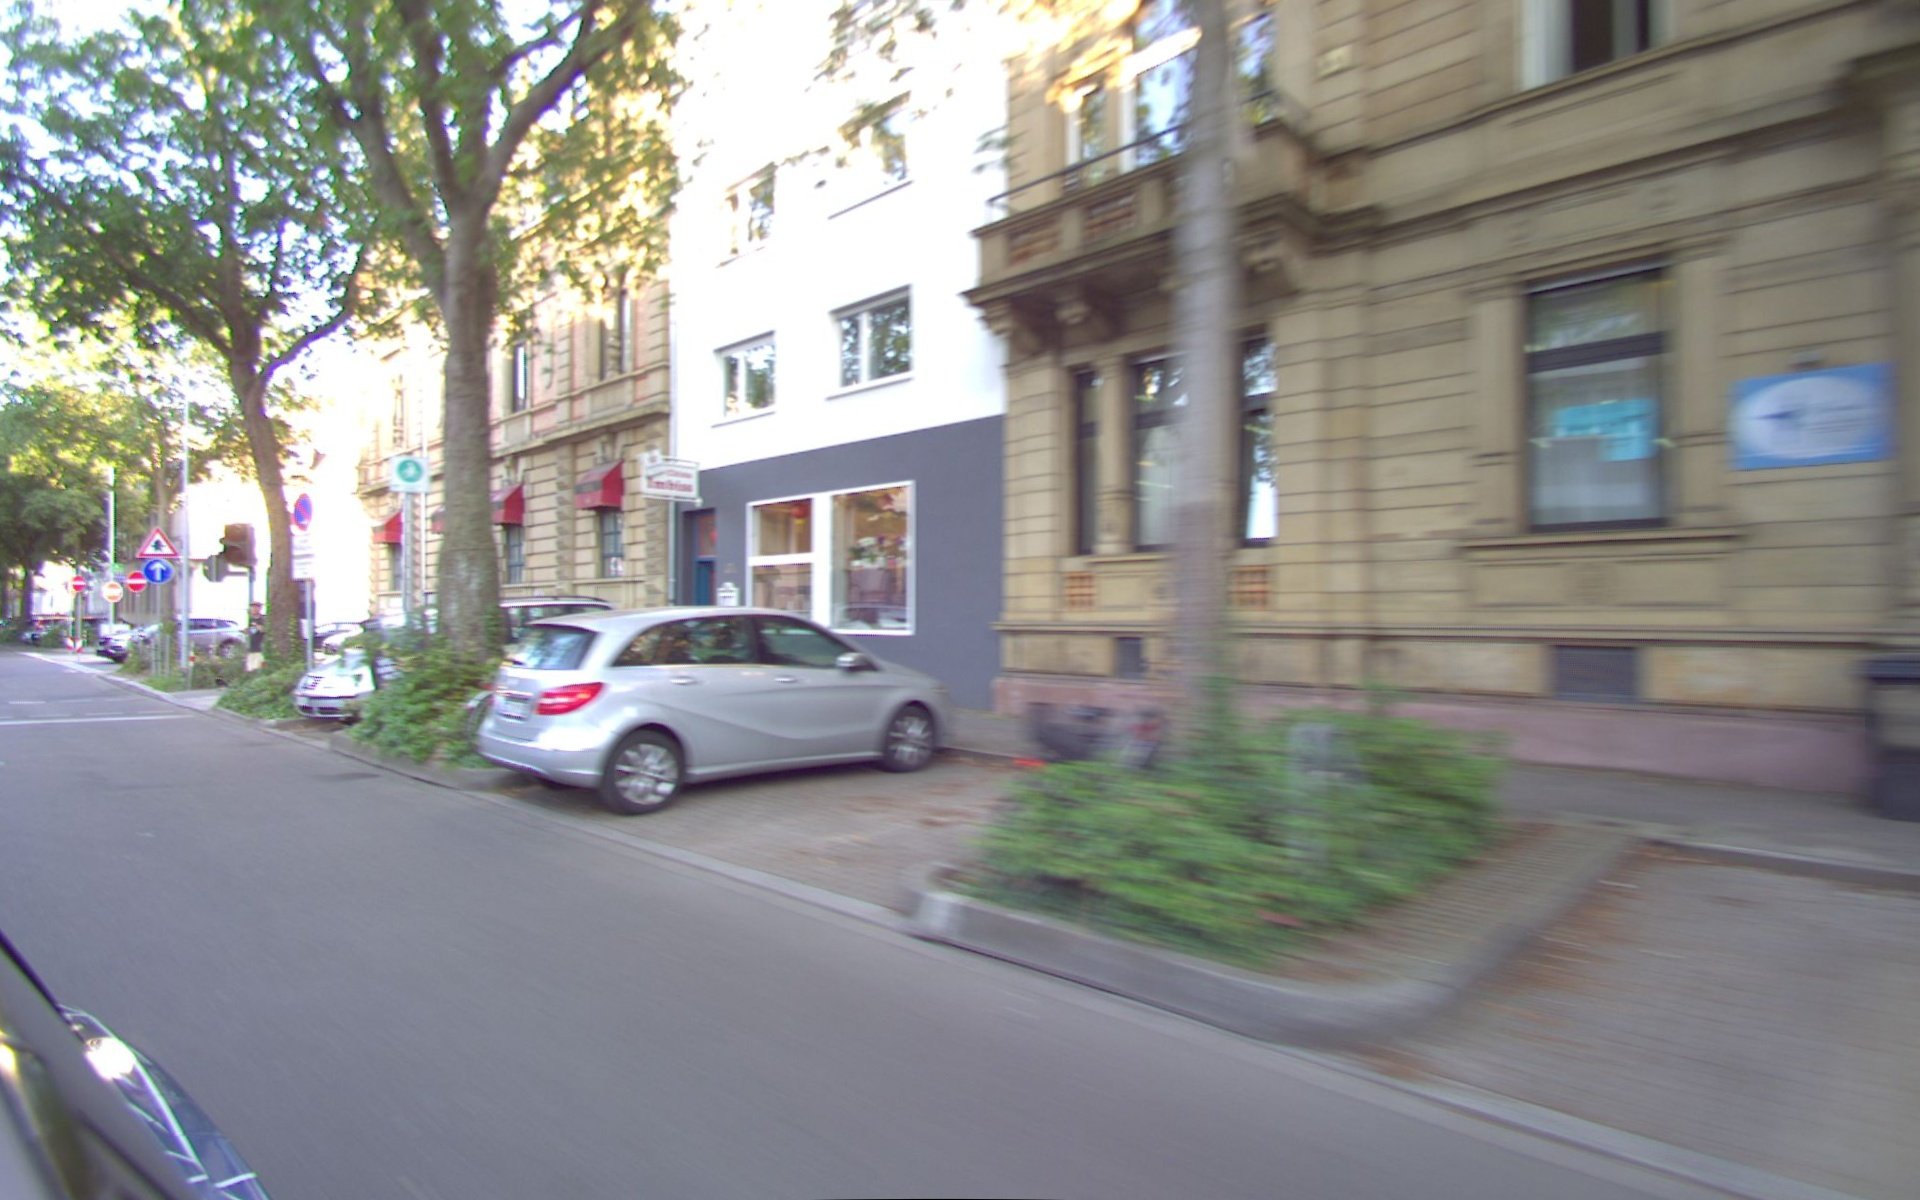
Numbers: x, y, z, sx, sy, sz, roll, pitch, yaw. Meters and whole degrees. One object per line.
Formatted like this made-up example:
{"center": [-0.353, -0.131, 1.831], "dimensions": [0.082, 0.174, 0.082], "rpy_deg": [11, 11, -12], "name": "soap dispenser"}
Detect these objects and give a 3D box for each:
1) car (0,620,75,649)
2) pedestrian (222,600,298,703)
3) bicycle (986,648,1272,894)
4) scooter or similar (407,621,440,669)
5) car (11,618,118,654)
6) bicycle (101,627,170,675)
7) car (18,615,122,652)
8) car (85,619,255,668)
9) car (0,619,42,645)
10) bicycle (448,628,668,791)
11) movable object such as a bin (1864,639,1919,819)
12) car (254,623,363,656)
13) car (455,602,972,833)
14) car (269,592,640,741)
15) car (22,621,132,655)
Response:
{"center": [-56.852, 2.067, 61.768], "dimensions": [1.996, 1.722, 3.952], "rpy_deg": [-1, -2, 35], "name": "car"}
{"center": [-12.437, 0.902, 17.994], "dimensions": [0.757, 1.790, 0.830], "rpy_deg": [0, -1, 5], "name": "pedestrian"}
{"center": [0.958, 0.805, 5.387], "dimensions": [0.599, 1.016, 1.774], "rpy_deg": [-1, 0, 44], "name": "bicycle"}
{"center": [-14.189, 1.197, 26.745], "dimensions": [1.273, 1.207, 0.379], "rpy_deg": [-4, -1, 45], "name": "scooter or similar"}
{"center": [-47.509, 1.868, 53.758], "dimensions": [1.796, 1.825, 3.952], "rpy_deg": [-1, -2, 35], "name": "car"}
{"center": [-23.231, 1.425, 28.566], "dimensions": [0.793, 1.234, 2.425], "rpy_deg": [-3, -1, -22], "name": "bicycle"}
{"center": [-49.010, 1.805, 55.781], "dimensions": [1.996, 1.966, 3.952], "rpy_deg": [-1, -2, 35], "name": "car"}
{"center": [-27.799, 1.484, 35.783], "dimensions": [1.937, 1.582, 4.321], "rpy_deg": [0, -1, 26], "name": "car"}
{"center": [-65.323, 2.186, 68.873], "dimensions": [1.841, 1.722, 3.952], "rpy_deg": [-1, -2, 35], "name": "car"}
{"center": [-3.704, 0.946, 9.451], "dimensions": [0.773, 1.336, 1.777], "rpy_deg": [-1, -1, 38], "name": "bicycle"}
{"center": [6.503, 0.804, 6.270], "dimensions": [1.317, 1.070, 0.792], "rpy_deg": [-1, 0, 43], "name": "movable object such as a bin"}
{"center": [-31.798, 1.906, 49.557], "dimensions": [4.197, 1.541, 1.839], "rpy_deg": [0, -2, -22], "name": "car"}
{"center": [-1.995, 0.822, 8.985], "dimensions": [4.121, 1.569, 1.828], "rpy_deg": [0, -1, -44], "name": "car"}
{"center": [-7.089, 0.809, 14.558], "dimensions": [1.890, 1.735, 4.378], "rpy_deg": [-1, 0, 42], "name": "car"}
{"center": [-45.366, 1.907, 52.082], "dimensions": [1.796, 1.682, 3.952], "rpy_deg": [-1, -2, 35], "name": "car"}
